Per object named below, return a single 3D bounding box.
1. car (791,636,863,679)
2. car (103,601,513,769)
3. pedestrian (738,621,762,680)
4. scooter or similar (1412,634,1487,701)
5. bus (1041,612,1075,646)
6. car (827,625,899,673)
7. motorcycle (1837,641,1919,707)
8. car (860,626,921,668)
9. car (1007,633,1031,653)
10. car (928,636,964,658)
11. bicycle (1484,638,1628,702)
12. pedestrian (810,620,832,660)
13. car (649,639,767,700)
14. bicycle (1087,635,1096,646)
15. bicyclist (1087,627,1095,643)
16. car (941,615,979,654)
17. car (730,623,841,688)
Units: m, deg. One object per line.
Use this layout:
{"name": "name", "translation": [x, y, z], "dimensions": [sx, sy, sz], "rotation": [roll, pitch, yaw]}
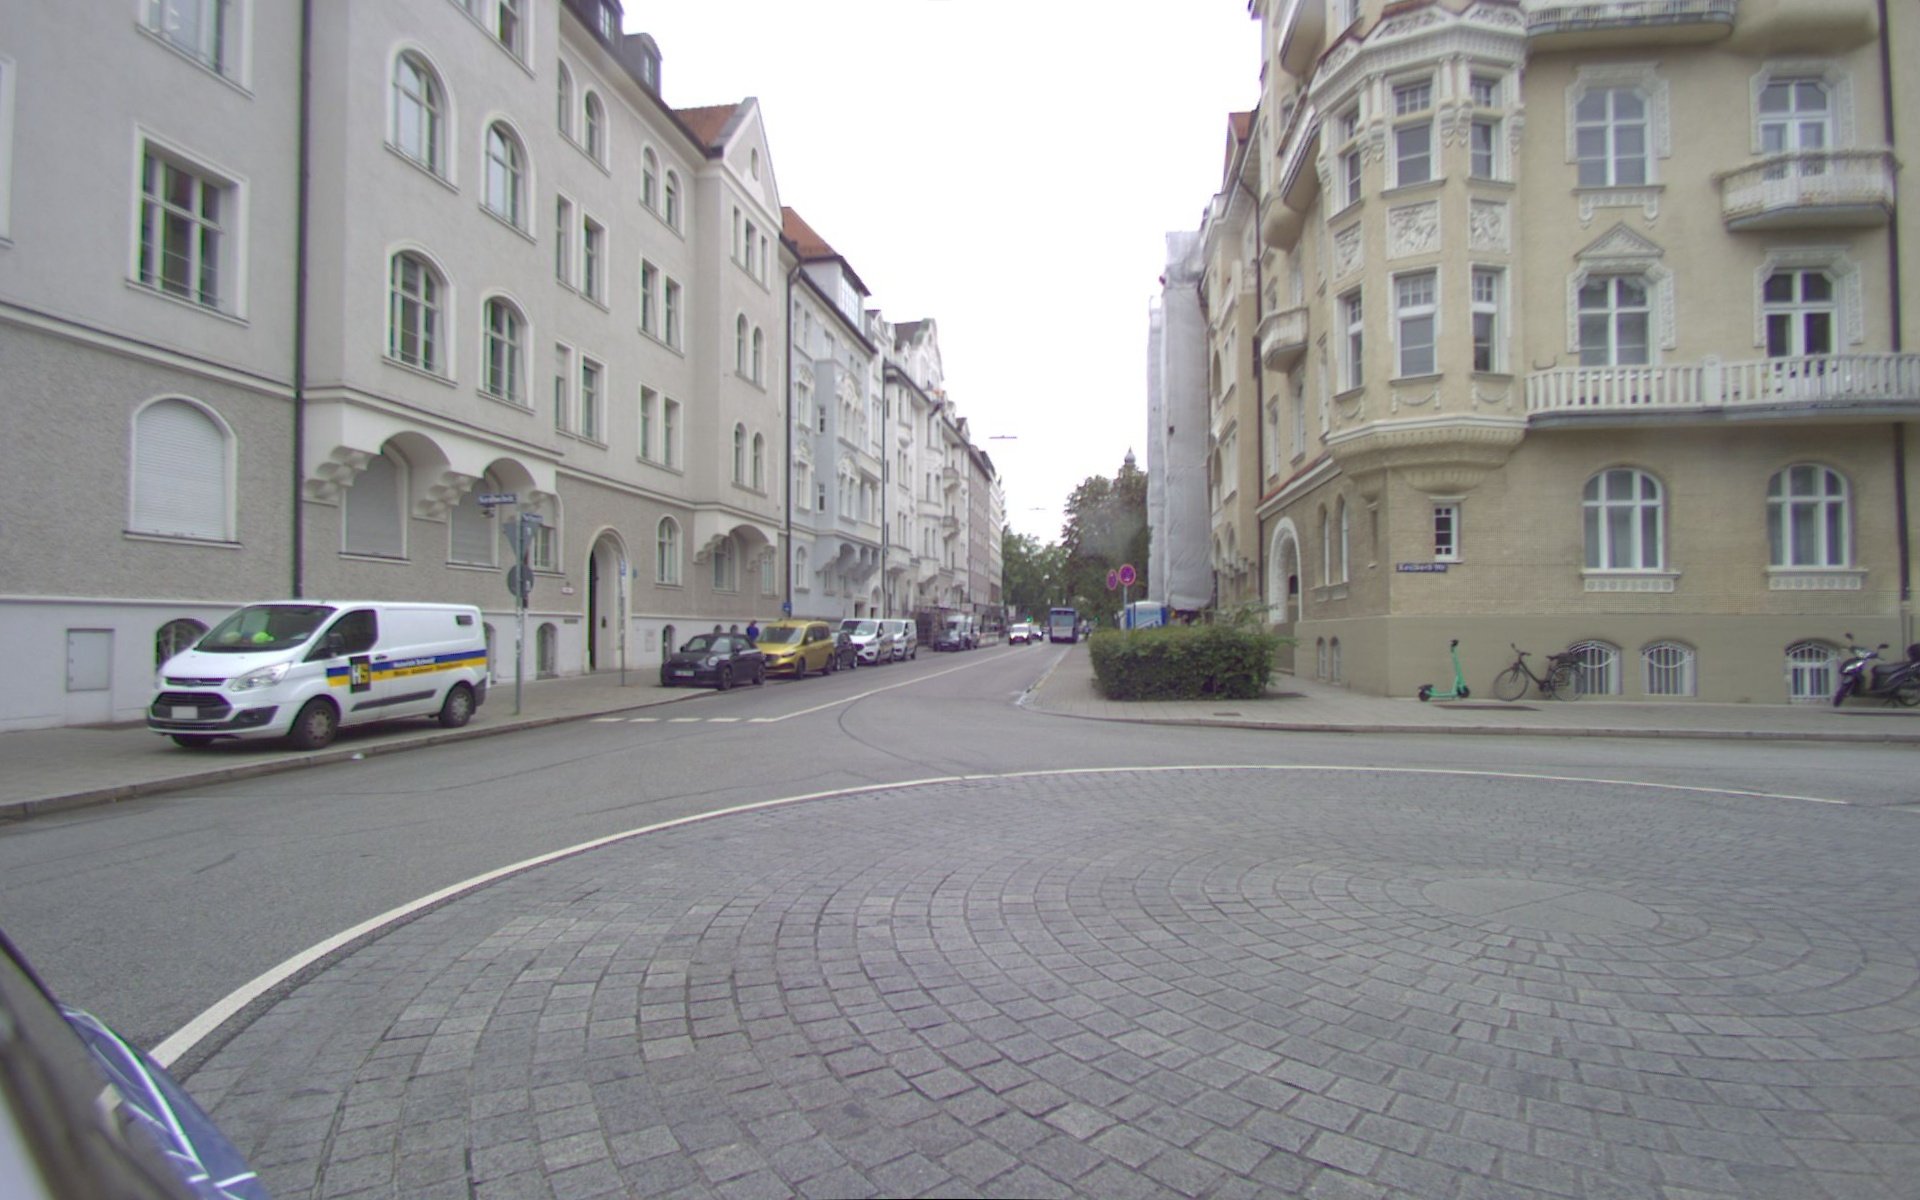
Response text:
{"name": "car", "translation": [-4.887, 2.091, 37.700], "dimensions": [1.621, 1.525, 3.873], "rotation": [-1, -2, 10]}
{"name": "car", "translation": [-8.943, 1.082, 14.676], "dimensions": [1.922, 1.936, 5.360], "rotation": [1, -2, 8]}
{"name": "pedestrian", "translation": [-7.292, 1.738, 35.181], "dimensions": [0.579, 2.029, 0.725], "rotation": [-1, -2, 11]}
{"name": "scooter or similar", "translation": [9.552, 1.316, 19.774], "dimensions": [1.264, 1.281, 0.460], "rotation": [0, -2, -9]}
{"name": "bus", "translation": [10.132, 3.024, 105.465], "dimensions": [3.142, 3.236, 18.027], "rotation": [1, -2, 5]}
{"name": "car", "translation": [-4.077, 2.057, 43.397], "dimensions": [1.977, 1.933, 4.873], "rotation": [0, -2, 8]}
{"name": "motorcycle", "translation": [17.415, 1.351, 18.654], "dimensions": [1.724, 1.195, 0.741], "rotation": [0, -2, 5]}
{"name": "car", "translation": [-3.342, 2.270, 49.620], "dimensions": [1.977, 1.933, 4.865], "rotation": [0, -2, 8]}
{"name": "car", "translation": [5.170, 3.705, 88.148], "dimensions": [1.897, 1.670, 4.593], "rotation": [0, -2, 6]}
{"name": "car", "translation": [-0.886, 3.144, 68.069], "dimensions": [1.773, 1.418, 4.233], "rotation": [0, -2, 9]}
{"name": "bicycle", "translation": [11.574, 1.353, 19.700], "dimensions": [2.309, 1.212, 0.698], "rotation": [0, -2, 4]}
{"name": "pedestrian", "translation": [-6.818, 1.956, 49.698], "dimensions": [0.846, 1.917, 0.743], "rotation": [0, -2, 12]}
{"name": "car", "translation": [-6.619, 1.786, 26.977], "dimensions": [1.699, 1.456, 3.816], "rotation": [0, -2, 9]}
{"name": "bicycle", "translation": [13.034, 4.006, 100.359], "dimensions": [0.761, 1.090, 2.045], "rotation": [-2, -2, 7]}
{"name": "bicyclist", "translation": [13.009, 3.488, 100.358], "dimensions": [0.761, 1.504, 1.058], "rotation": [-2, -2, 7]}
{"name": "car", "translation": [0.033, 2.487, 74.330], "dimensions": [2.059, 2.709, 5.432], "rotation": [1, -2, 7]}
{"name": "car", "translation": [-5.507, 1.717, 32.511], "dimensions": [1.979, 1.933, 4.553], "rotation": [0, -2, 12]}
